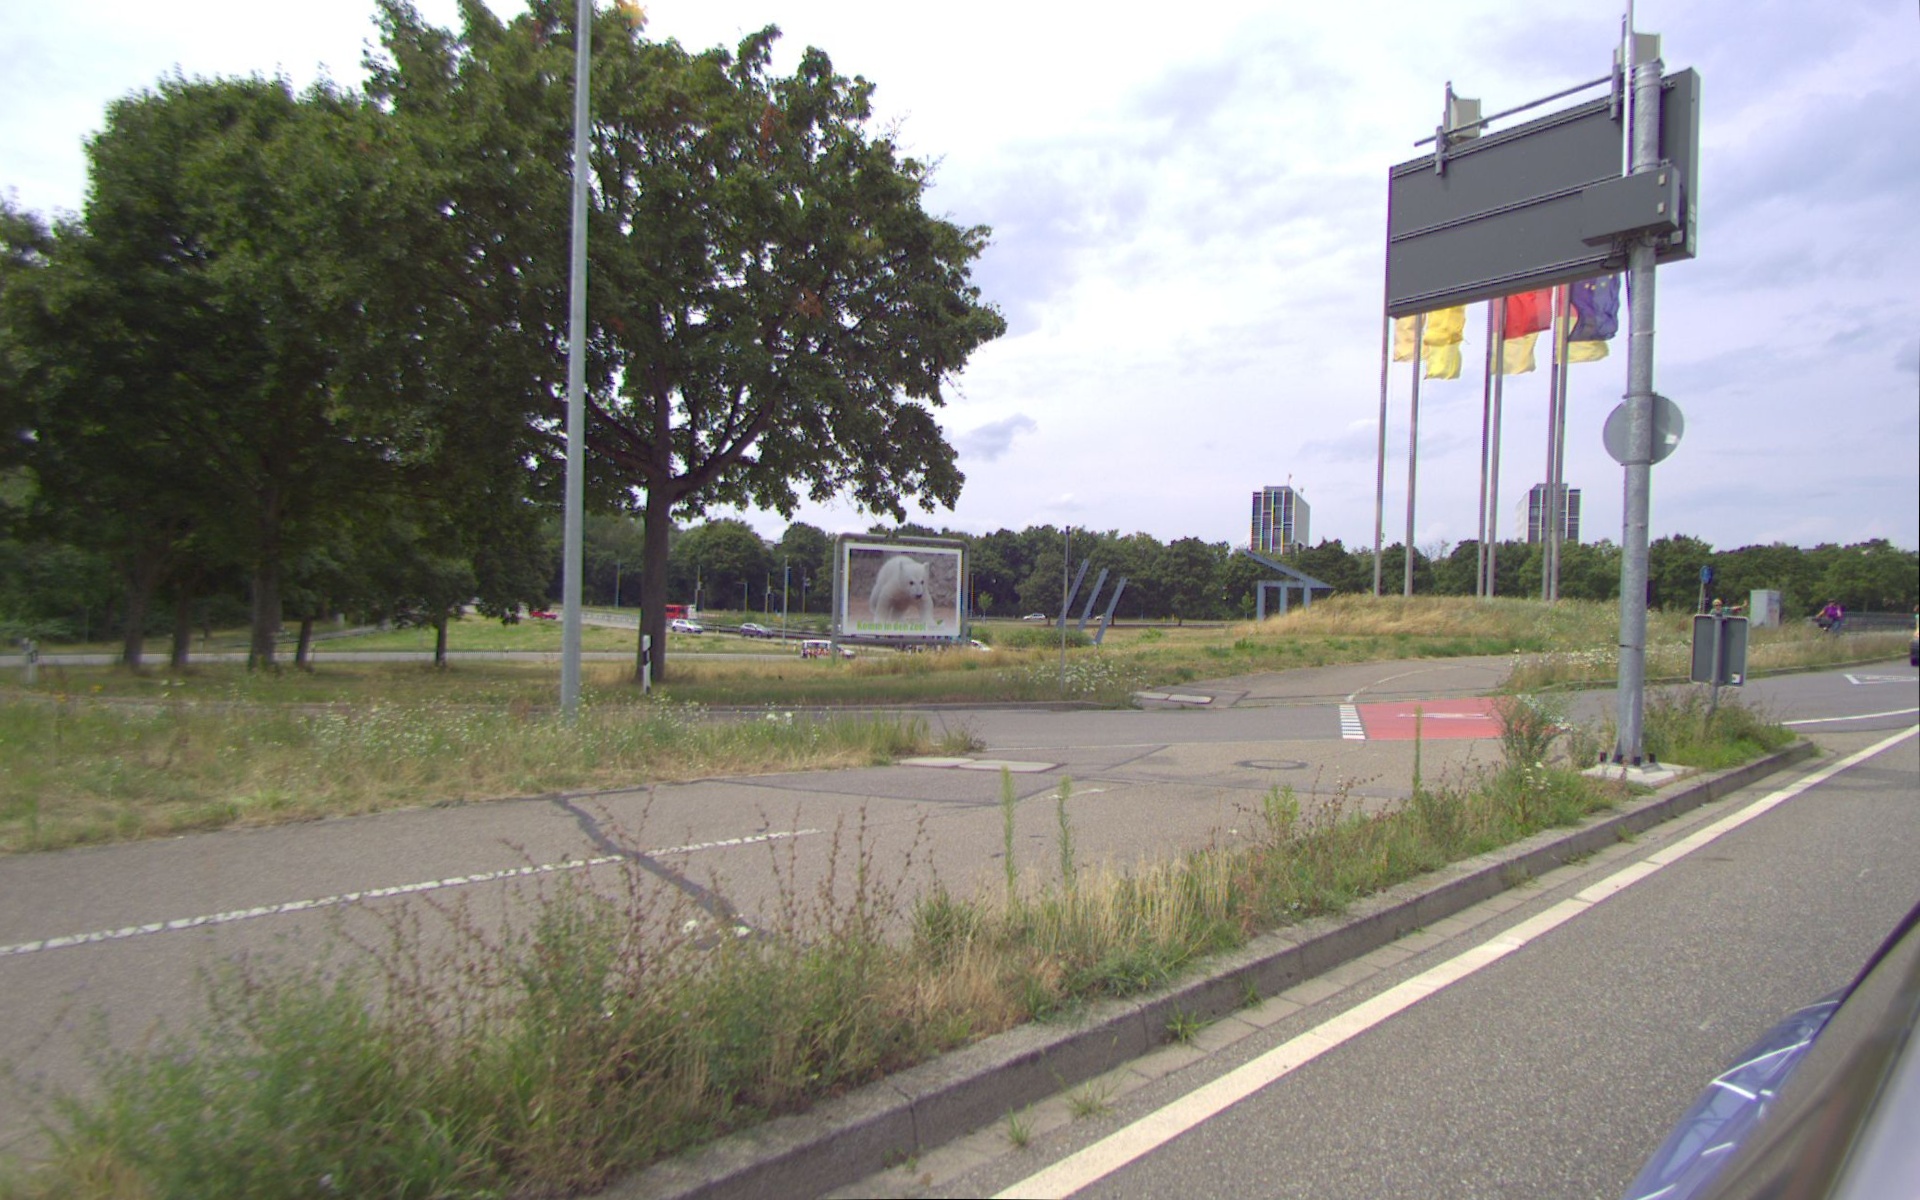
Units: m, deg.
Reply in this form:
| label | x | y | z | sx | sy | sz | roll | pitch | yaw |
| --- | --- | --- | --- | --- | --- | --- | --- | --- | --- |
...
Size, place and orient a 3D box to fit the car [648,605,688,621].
| label | x | y | z | sx | sy | sz | roll | pitch | yaw |
| --- | --- | --- | --- | --- | --- | --- | --- | --- | --- |
| car | -40.389 | 1.831 | 139.908 | 5.425 | 2.039 | 1.979 | 2 | 0 | 29 |

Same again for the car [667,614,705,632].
| label | x | y | z | sx | sy | sz | roll | pitch | yaw |
| --- | --- | --- | --- | --- | --- | --- | --- | --- | --- |
| car | -31.512 | 2.671 | 116.469 | 3.963 | 2.039 | 1.980 | -1 | -1 | 28 |

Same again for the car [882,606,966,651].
| label | x | y | z | sx | sy | sz | roll | pitch | yaw |
| --- | --- | --- | --- | --- | --- | --- | --- | --- | --- |
| car | -3.484 | 2.716 | 97.156 | 7.446 | 3.946 | 3.310 | 2 | 0 | 30 |

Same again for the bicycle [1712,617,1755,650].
| label | x | y | z | sx | sy | sz | roll | pitch | yaw |
| --- | --- | --- | --- | --- | --- | --- | --- | --- | --- |
| bicycle | 22.648 | 0.967 | 29.626 | 2.117 | 0.900 | 0.624 | 0 | 1 | -42 |

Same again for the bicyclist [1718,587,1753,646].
| label | x | y | z | sx | sy | sz | roll | pitch | yaw |
| --- | --- | --- | --- | --- | --- | --- | --- | --- | --- |
| bicyclist | 22.692 | 0.478 | 29.610 | 0.657 | 1.686 | 0.623 | 2 | 2 | -42 |

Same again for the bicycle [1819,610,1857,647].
| label | x | y | z | sx | sy | sz | roll | pitch | yaw |
| --- | --- | --- | --- | --- | --- | --- | --- | --- | --- |
| bicycle | 30.719 | 0.994 | 35.408 | 2.418 | 1.207 | 0.695 | 1 | 1 | -42 |

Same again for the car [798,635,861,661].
| label | x | y | z | sx | sy | sz | roll | pitch | yaw |
| --- | --- | --- | --- | --- | --- | --- | --- | --- | --- |
| car | -11.224 | 4.145 | 87.173 | 5.139 | 2.039 | 2.004 | 2 | 0 | -14 |

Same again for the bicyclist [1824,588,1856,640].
| label | x | y | z | sx | sy | sz | roll | pitch | yaw |
| --- | --- | --- | --- | --- | --- | --- | --- | --- | --- |
| bicyclist | 30.876 | 0.476 | 35.512 | 0.974 | 1.777 | 0.704 | 2 | 0 | -42 |

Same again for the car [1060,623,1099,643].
| label | x | y | z | sx | sy | sz | roll | pitch | yaw |
| --- | --- | --- | --- | --- | --- | --- | --- | --- | --- |
| car | 13.563 | 3.742 | 114.684 | 3.981 | 2.039 | 1.851 | 2 | 0 | 39 |
